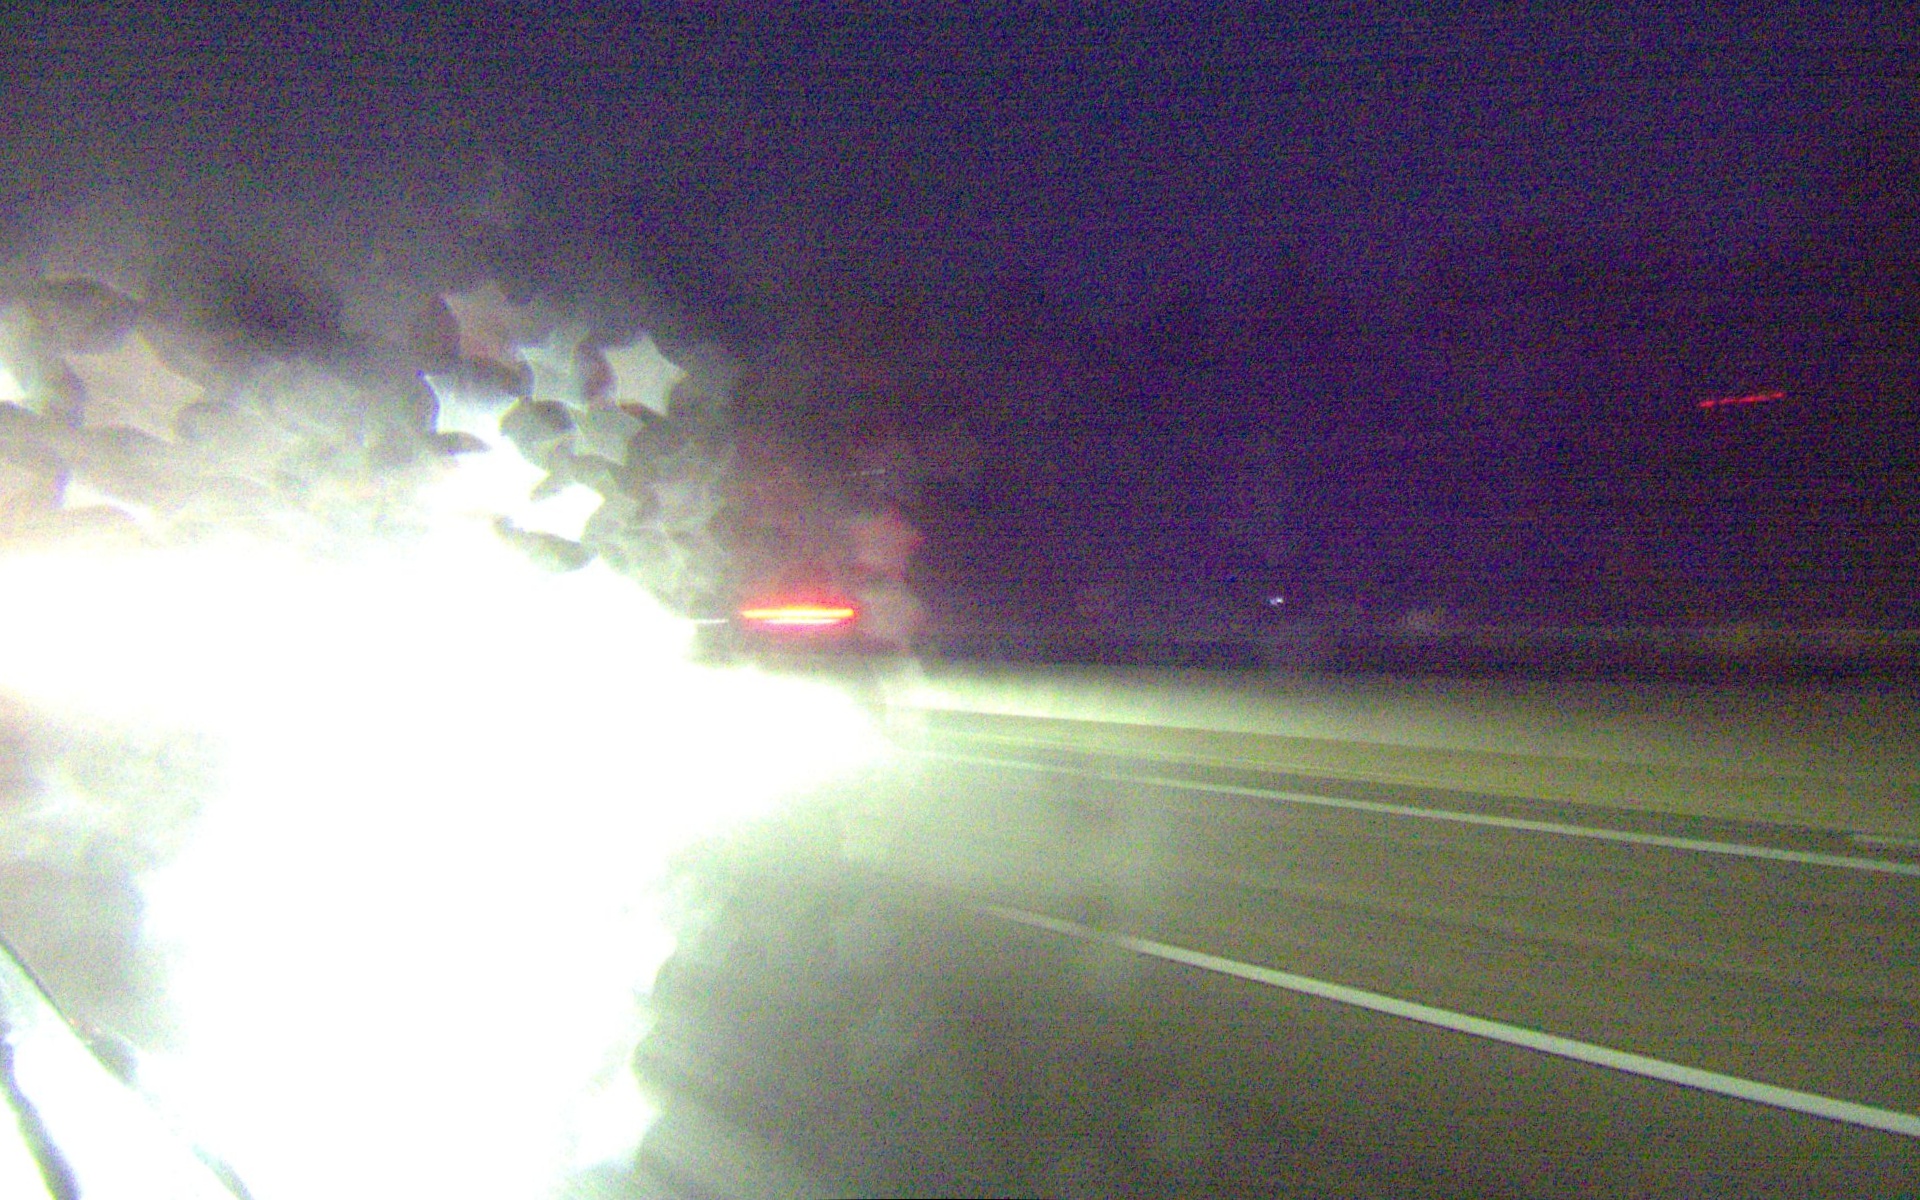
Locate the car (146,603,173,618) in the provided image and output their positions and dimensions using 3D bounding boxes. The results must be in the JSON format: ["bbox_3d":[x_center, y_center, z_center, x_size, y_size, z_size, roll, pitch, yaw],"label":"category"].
[{"bbox_3d":[-83.250,1.093,105.209,4.002,1.504,1.722,-1,0,44],"label":"car"}]

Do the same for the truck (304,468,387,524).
[{"bbox_3d":[-45.683,-7.666,75.261,5.388,3.808,2.402,0,1,19],"label":"truck"}]

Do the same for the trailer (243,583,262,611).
[{"bbox_3d":[-129.626,-0.571,185.473,2.737,5.012,14.144,0,1,-34],"label":"trailer"}]

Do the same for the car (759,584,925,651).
[{"bbox_3d":[-3.206,0.452,26.855,4.703,1.644,1.753,-1,0,43],"label":"car"}]

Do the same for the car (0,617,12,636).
[{"bbox_3d":[-91.195,2.505,95.838,4.648,1.574,1.971,1,1,45],"label":"car"}]

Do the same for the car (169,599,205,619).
[{"bbox_3d":[-60.789,0.684,79.589,4.002,1.504,1.722,-1,0,44],"label":"car"}]

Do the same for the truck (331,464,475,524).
[{"bbox_3d":[-40.447,-7.631,73.401,11.146,3.808,2.402,0,1,20],"label":"truck"}]

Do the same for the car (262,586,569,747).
[{"bbox_3d":[-8.001,0.749,14.578,5.553,1.898,2.114,1,1,41],"label":"car"}]
